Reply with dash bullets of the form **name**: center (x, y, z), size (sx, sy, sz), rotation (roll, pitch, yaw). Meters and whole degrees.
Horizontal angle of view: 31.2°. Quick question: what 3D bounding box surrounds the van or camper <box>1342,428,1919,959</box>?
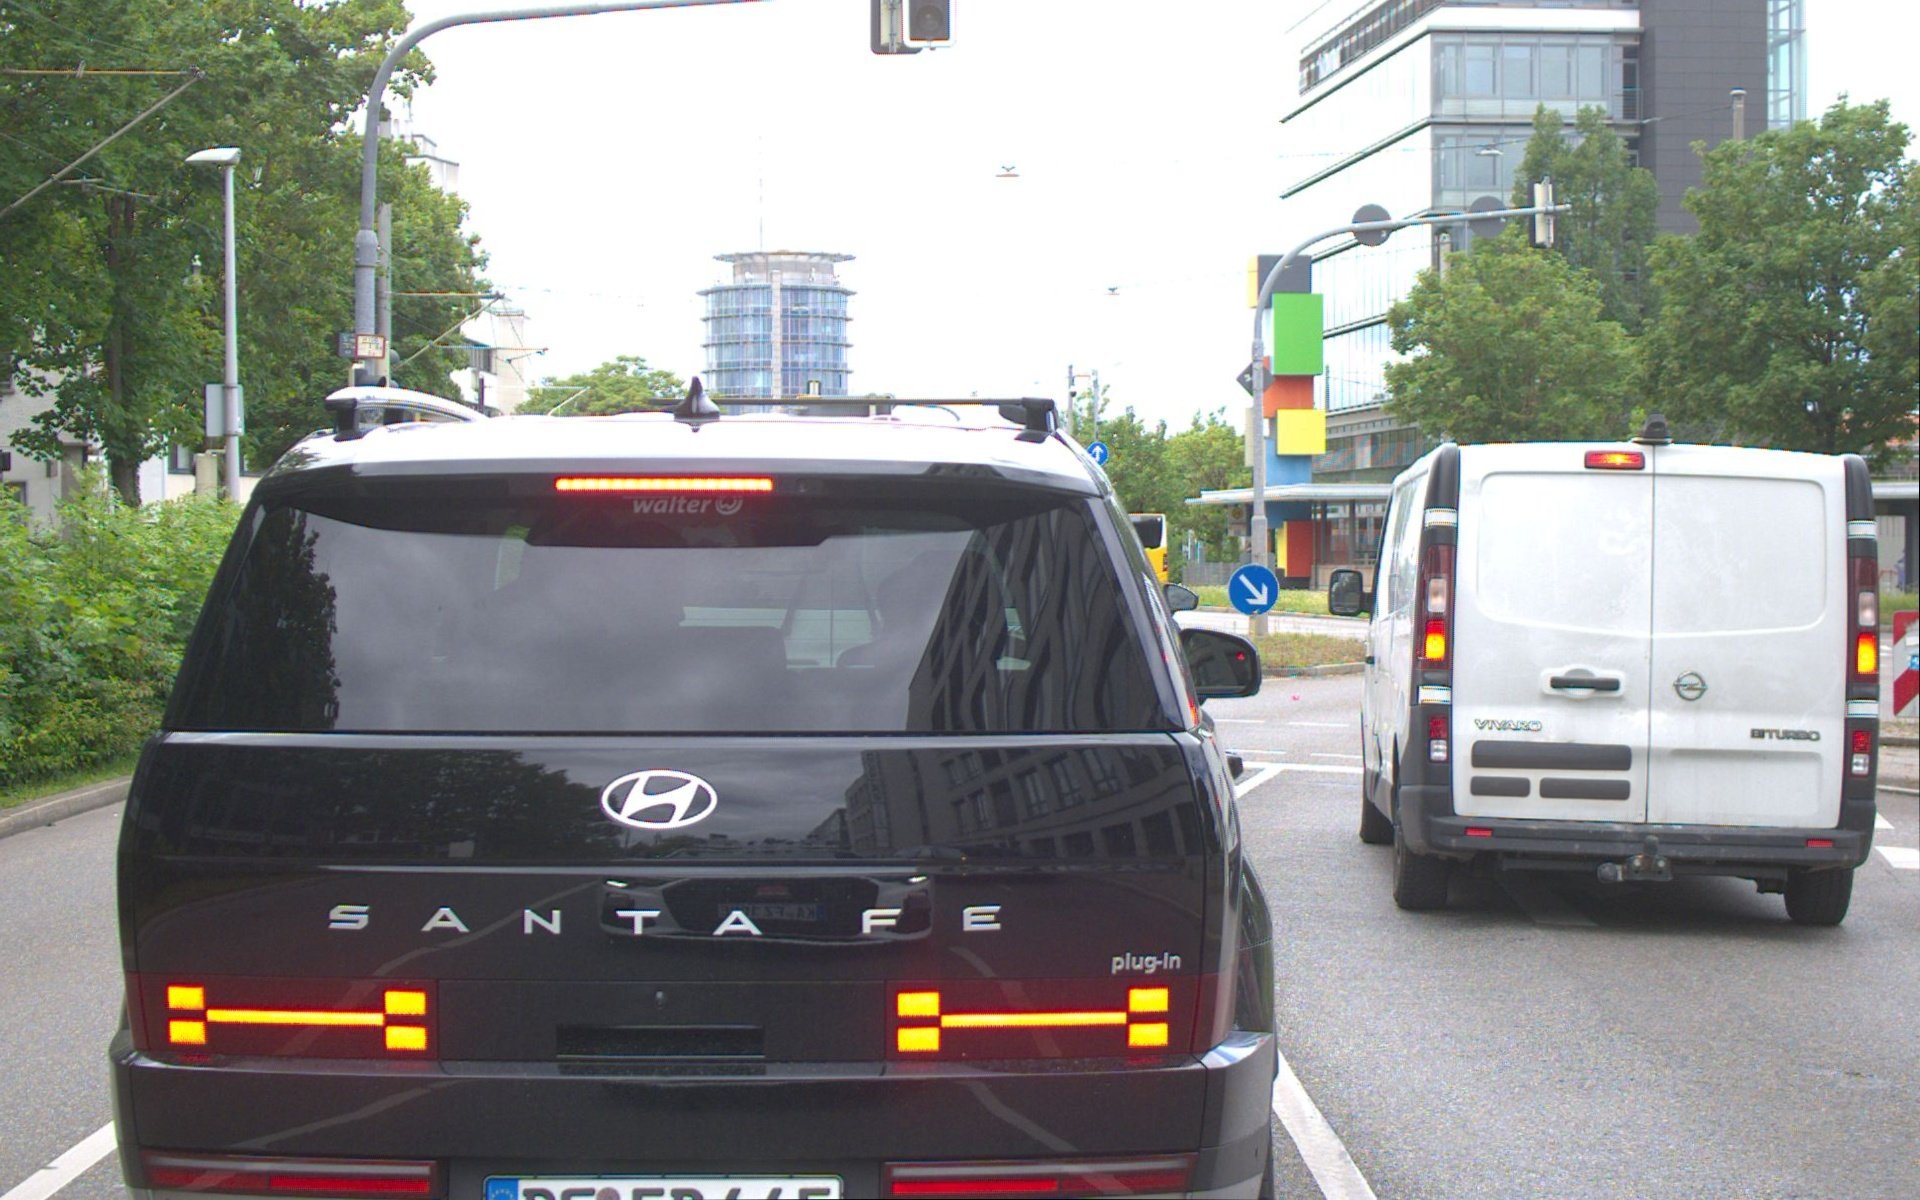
- **van or camper**: center (2.834, 0.313, 15.451), size (1.994, 2.007, 4.652), rotation (1, 1, 4)

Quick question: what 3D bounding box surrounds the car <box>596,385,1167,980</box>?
- **car**: center (-0.286, 0.243, 13.513), size (1.915, 1.996, 3.880), rotation (0, 1, -1)

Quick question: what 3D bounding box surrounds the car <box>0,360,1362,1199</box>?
- **car**: center (-0.400, 0.515, 6.668), size (1.869, 1.754, 3.880), rotation (0, 1, -1)

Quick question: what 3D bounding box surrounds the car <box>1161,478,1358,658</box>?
- **car**: center (3.474, -0.374, 40.593), size (1.993, 2.007, 4.000), rotation (0, 0, 1)

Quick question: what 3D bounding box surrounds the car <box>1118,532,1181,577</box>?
- **car**: center (7.254, -1.726, 131.807), size (1.993, 1.678, 4.000), rotation (0, 0, -3)

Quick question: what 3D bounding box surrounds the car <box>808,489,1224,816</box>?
- **car**: center (0.450, 0.259, 20.361), size (1.776, 1.711, 4.336), rotation (1, 0, 10)
